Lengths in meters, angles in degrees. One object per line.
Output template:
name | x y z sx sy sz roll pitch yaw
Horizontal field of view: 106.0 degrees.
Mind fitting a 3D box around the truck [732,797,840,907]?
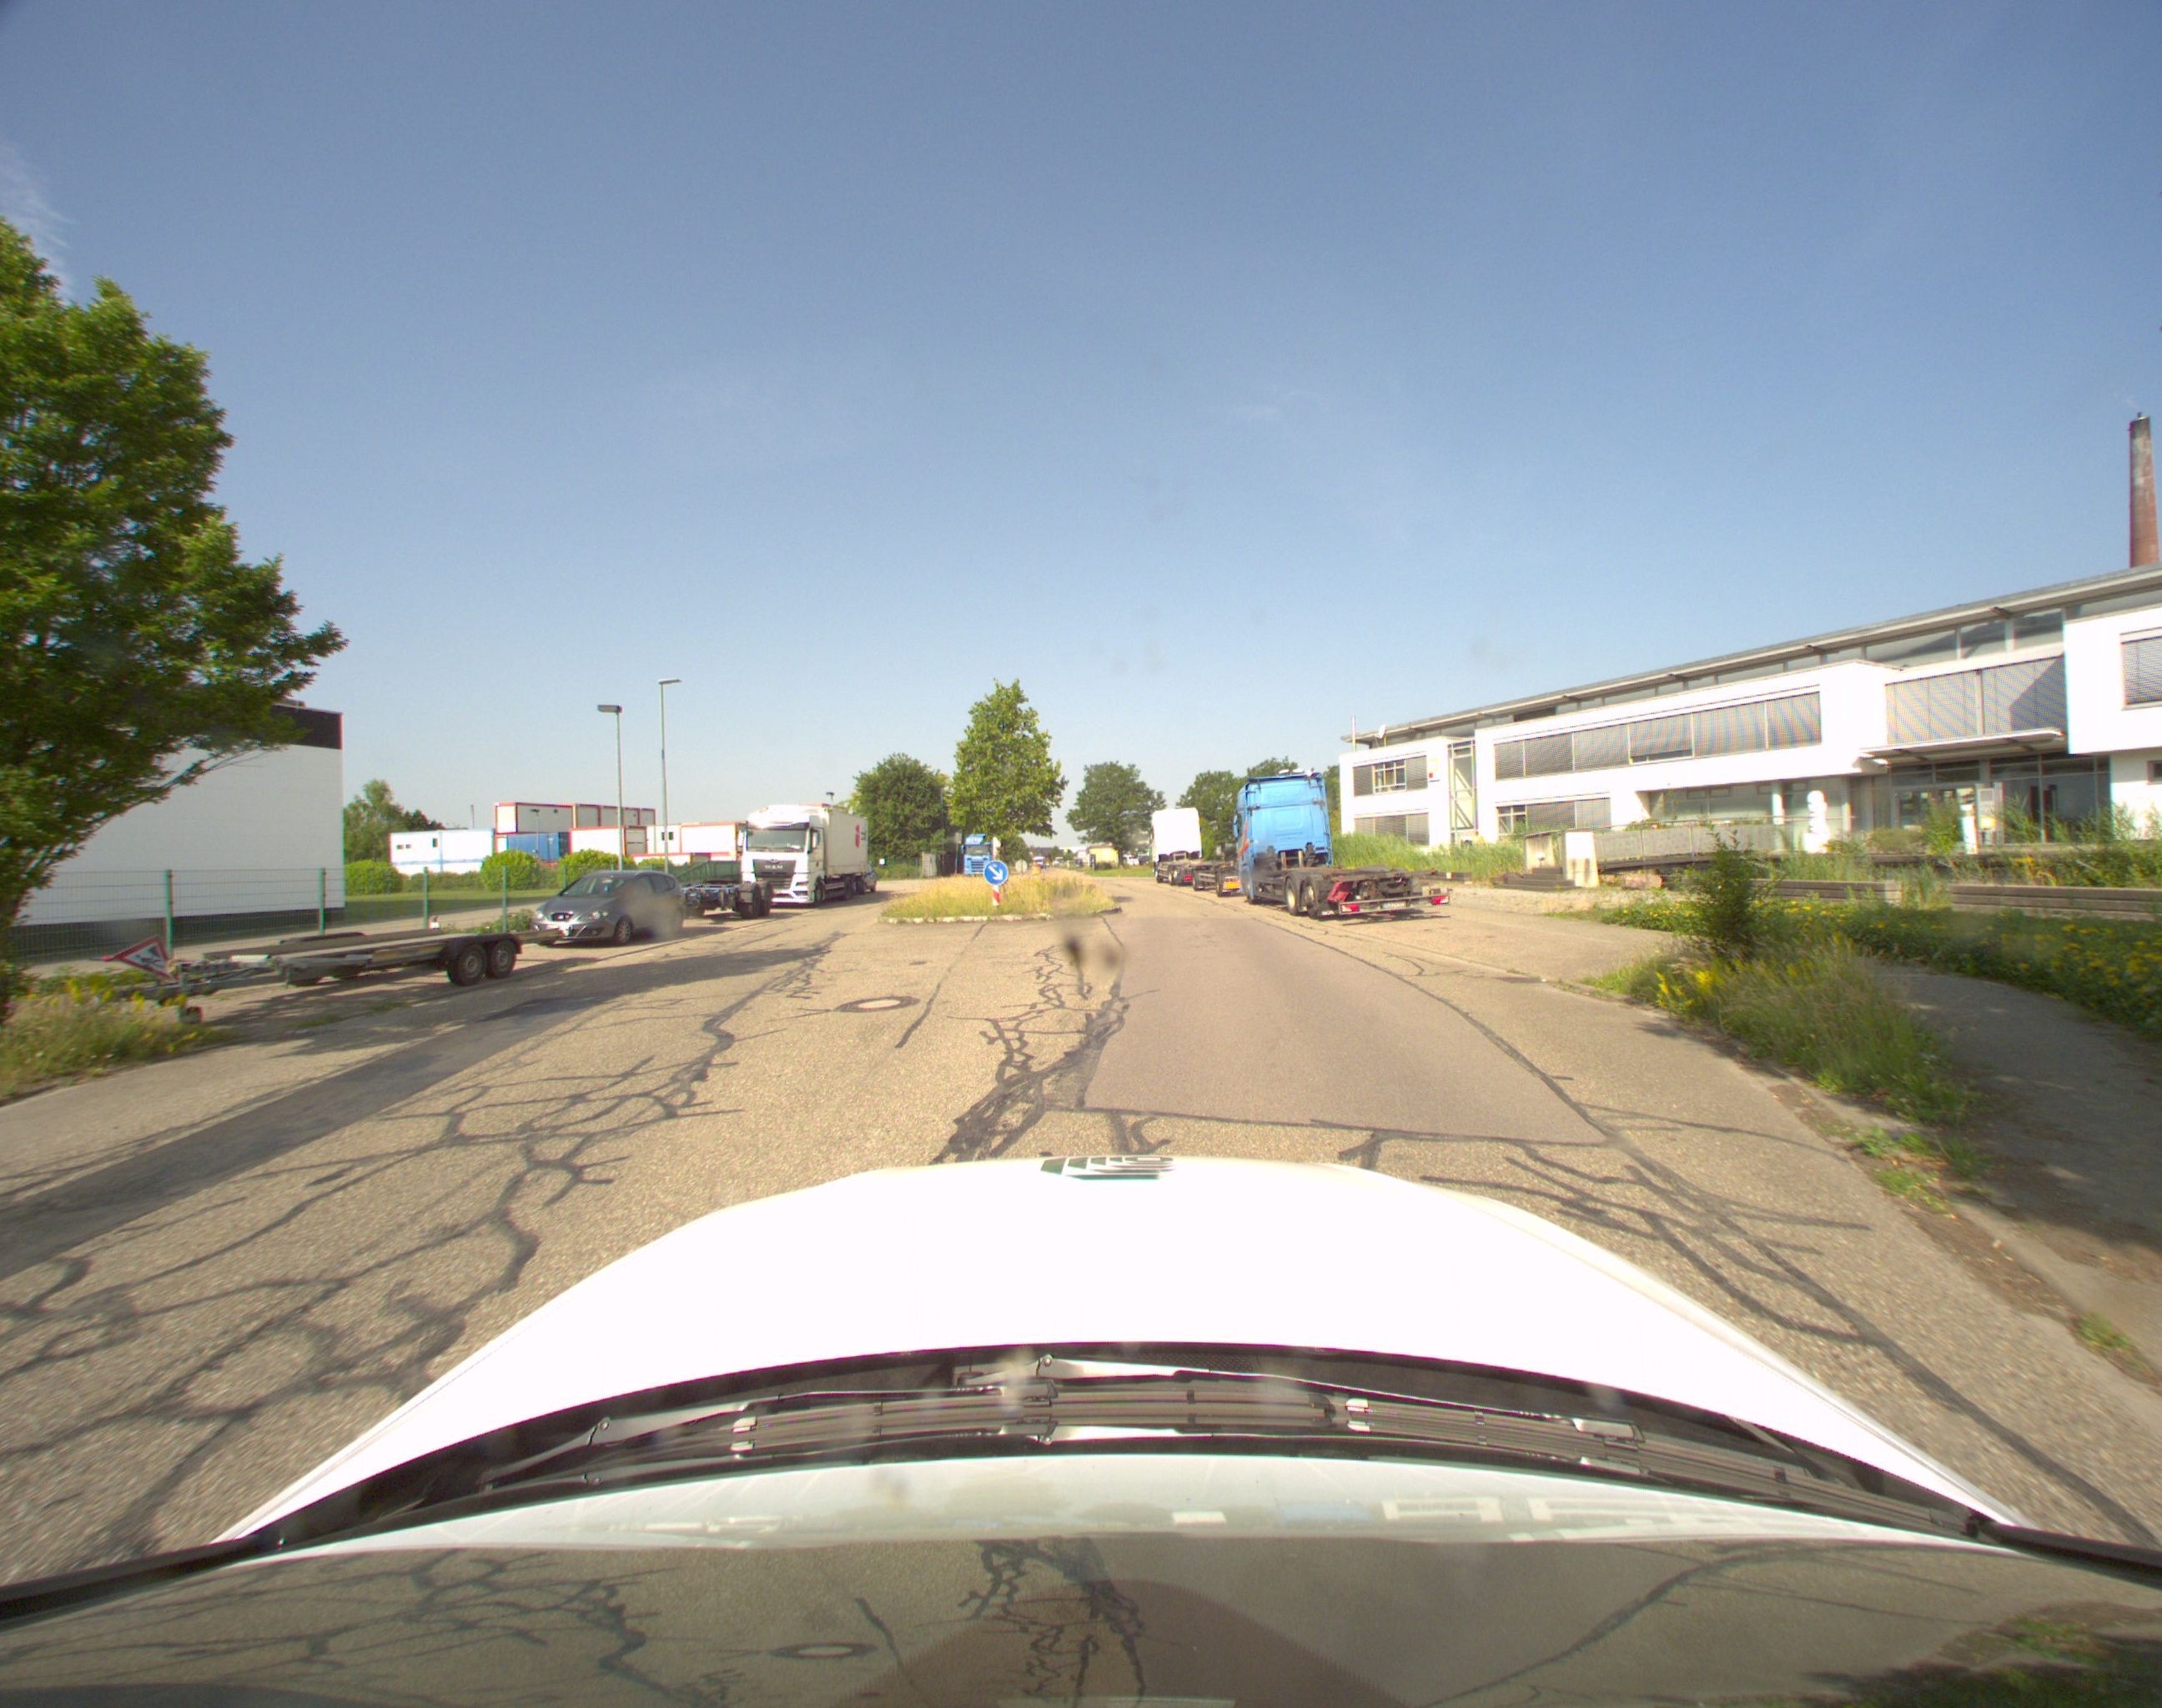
truck | -11.144 0.000 31.196 2.703 3.922 4.291 0 -2 -3

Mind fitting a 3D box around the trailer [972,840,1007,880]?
trailer | -9.386 0.709 84.409 2.824 3.843 12.021 0 -2 -3

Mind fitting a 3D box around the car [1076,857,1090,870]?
car | 0.314 1.413 116.793 1.788 1.750 3.994 0 -2 -3

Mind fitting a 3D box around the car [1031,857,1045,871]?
car | -8.873 2.046 167.476 2.214 2.686 6.831 0 -2 -9

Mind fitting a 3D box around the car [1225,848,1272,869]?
car | 15.124 0.410 73.514 4.015 1.767 1.979 1 -2 -34

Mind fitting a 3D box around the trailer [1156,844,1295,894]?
trailer | 5.821 0.608 36.703 2.739 1.574 16.156 -4 0 -2

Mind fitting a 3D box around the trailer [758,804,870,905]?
trailer | -11.368 0.121 35.494 2.693 3.922 7.565 0 -2 -3

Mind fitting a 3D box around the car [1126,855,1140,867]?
car | 6.909 0.952 108.930 1.711 1.618 4.000 0 -2 1

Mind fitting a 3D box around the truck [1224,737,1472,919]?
truck | 6.426 -0.444 21.854 2.881 3.535 9.747 -5 -1 -2

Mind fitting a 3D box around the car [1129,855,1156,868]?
car | 6.759 0.879 90.124 1.673 1.330 3.639 1 -2 -19

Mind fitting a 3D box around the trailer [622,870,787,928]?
trailer | -11.106 1.270 24.567 2.674 1.453 5.074 -1 0 -1

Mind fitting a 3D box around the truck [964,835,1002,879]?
truck | -9.002 0.424 75.779 2.819 3.826 9.661 0 -2 -3

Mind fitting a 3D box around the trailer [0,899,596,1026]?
trailer | -10.113 1.315 11.717 2.542 0.925 6.700 2 0 -4

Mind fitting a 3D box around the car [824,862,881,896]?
car | -11.837 1.272 42.479 1.990 1.641 4.580 0 0 -5

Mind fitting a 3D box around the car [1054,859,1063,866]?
car | -6.000 2.378 217.584 1.772 1.815 3.983 0 -2 -12

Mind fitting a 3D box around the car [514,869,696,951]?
car | -10.557 1.173 18.497 1.691 1.561 4.331 1 0 -2

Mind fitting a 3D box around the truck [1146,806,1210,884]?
truck | 5.374 -0.452 45.759 2.739 3.981 3.996 -4 -1 -3
